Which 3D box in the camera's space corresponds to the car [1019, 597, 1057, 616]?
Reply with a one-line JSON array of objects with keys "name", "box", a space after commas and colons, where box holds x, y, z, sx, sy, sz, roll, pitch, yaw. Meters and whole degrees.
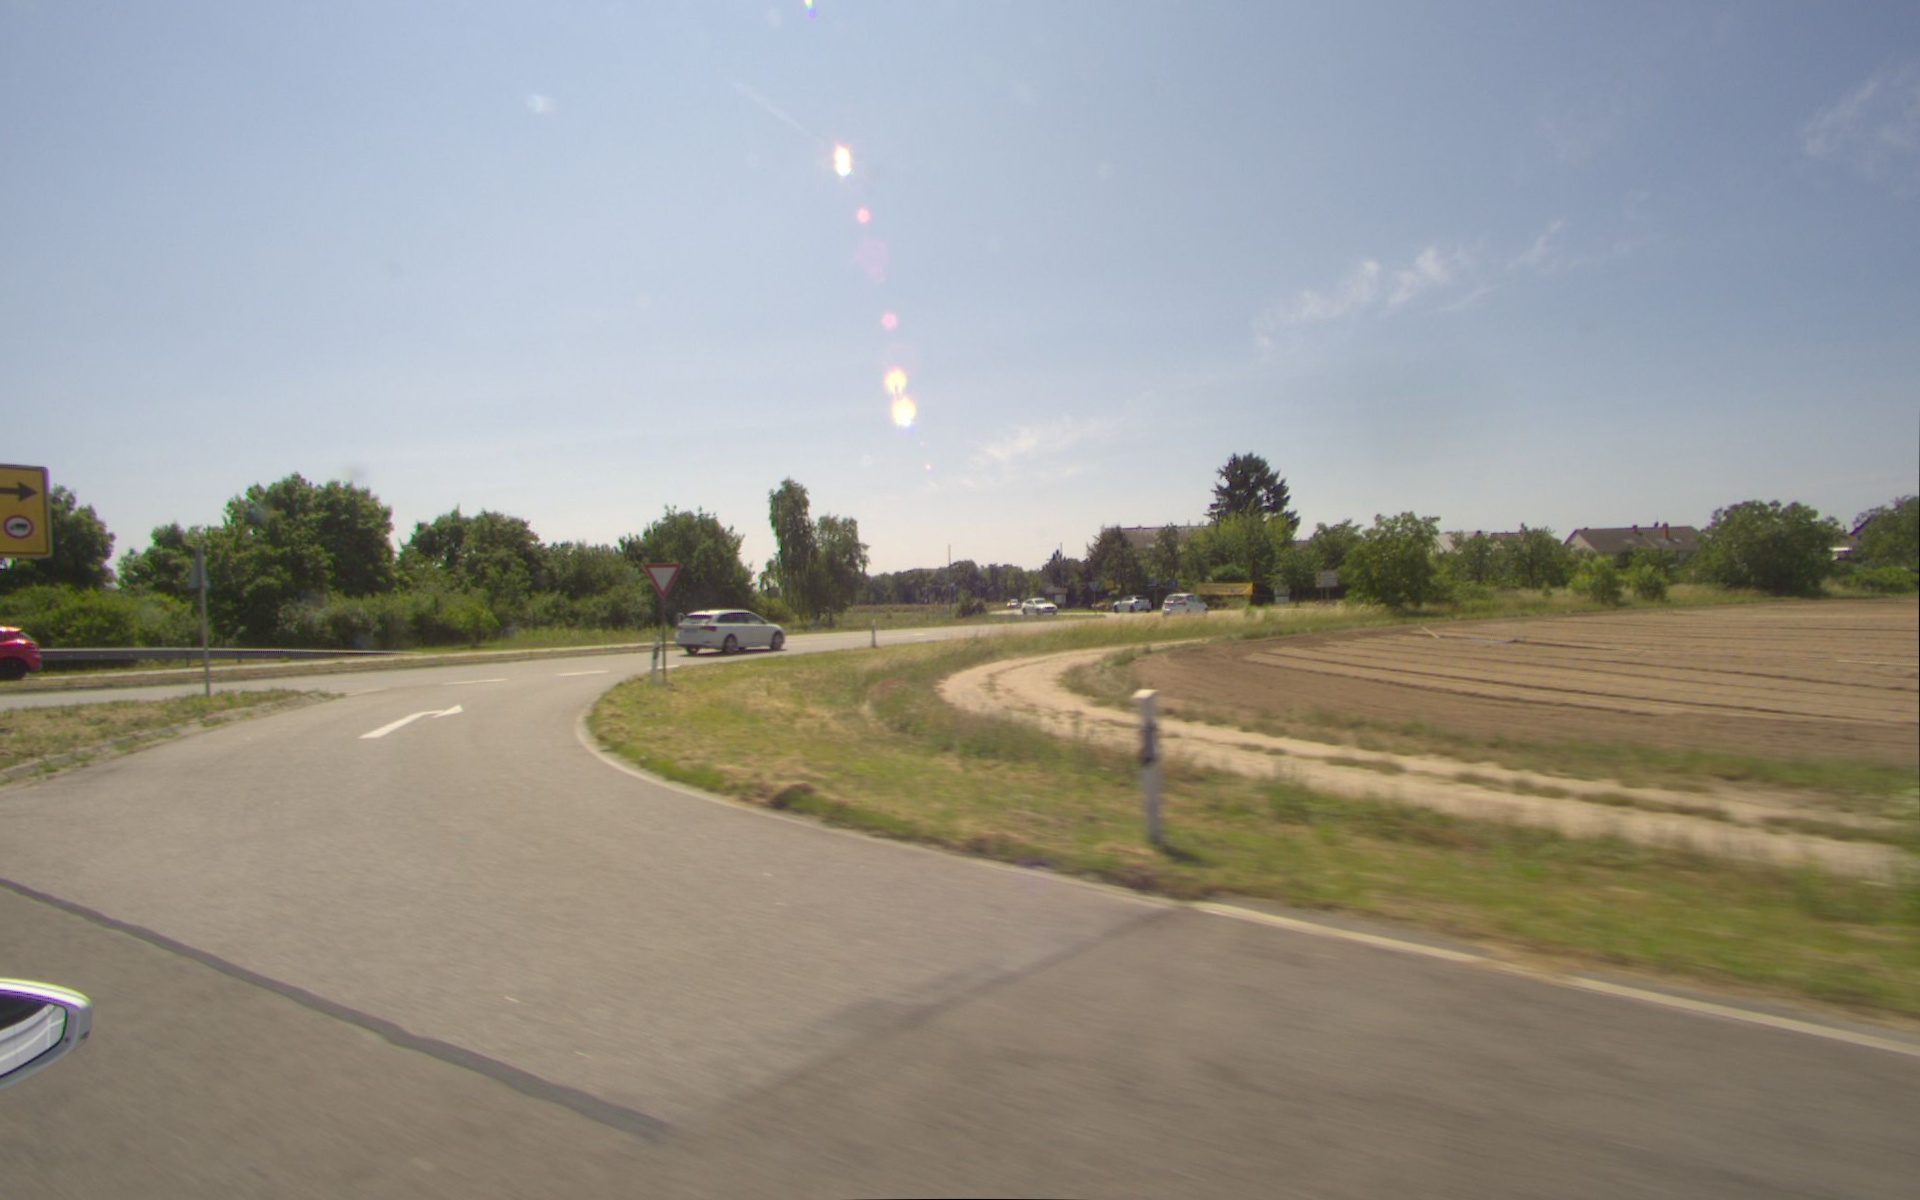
[{"name": "car", "box": [6.988, 0.566, 90.685, 1.616, 1.645, 4.755, -1, 0, -20]}]

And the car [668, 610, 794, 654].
[{"name": "car", "box": [-7.874, 1.106, 34.909, 1.812, 1.436, 4.701, -1, -2, 25]}]

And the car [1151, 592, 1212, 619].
[{"name": "car", "box": [14.449, 0.370, 65.262, 2.049, 1.645, 4.103, -1, 0, 44]}]

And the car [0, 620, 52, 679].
[{"name": "car", "box": [-25.451, 1.285, 24.931, 4.126, 1.437, 1.762, -1, -1, -45]}]

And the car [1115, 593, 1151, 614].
[{"name": "car", "box": [14.398, 0.269, 83.480, 1.613, 1.645, 3.996, -1, 0, -11]}]
